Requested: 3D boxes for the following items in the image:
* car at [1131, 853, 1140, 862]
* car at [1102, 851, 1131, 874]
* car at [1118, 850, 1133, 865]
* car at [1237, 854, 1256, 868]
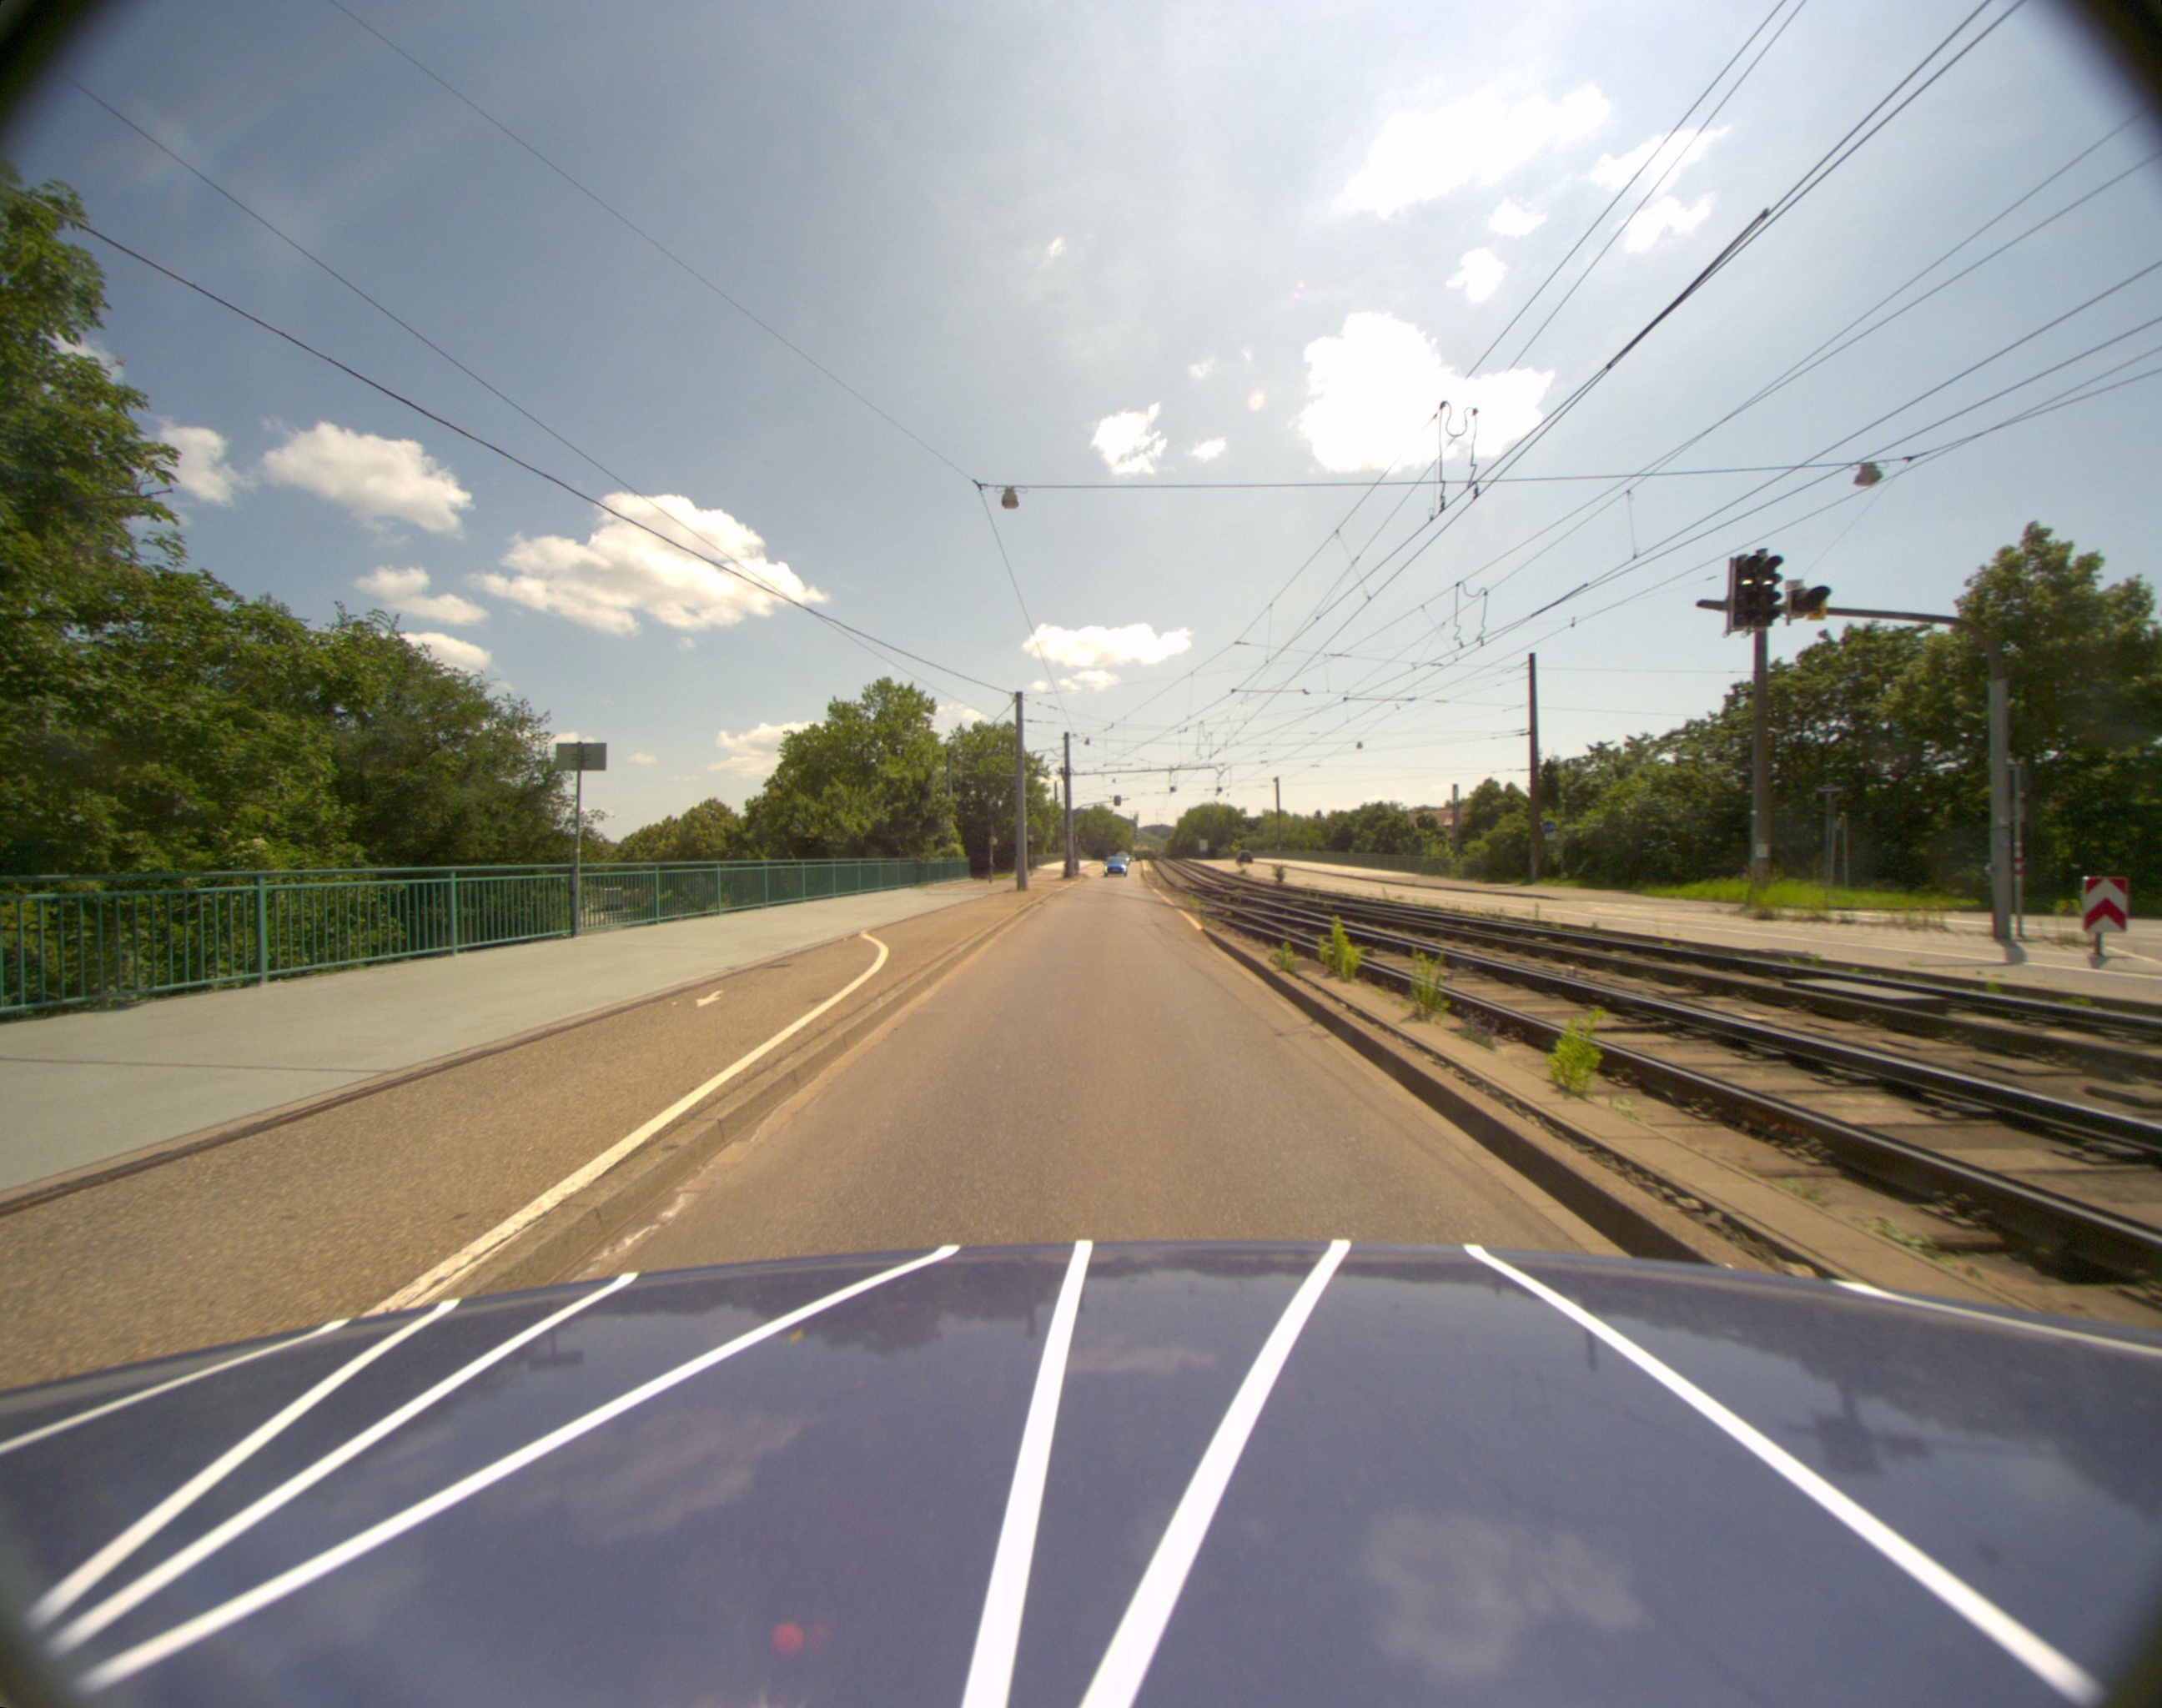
[{"bbox_3d":[11.416,0.737,158.476,1.730,1.696,4.000,0,0,1],"label":"car"},{"bbox_3d":[2.717,0.656,57.848,1.864,1.630,4.003,-2,-1,6],"label":"car"},{"bbox_3d":[5.612,0.477,95.687,1.683,1.737,3.686,-3,-1,2],"label":"car"},{"bbox_3d":[19.366,0.783,89.225,1.708,1.501,3.734,-1,1,5],"label":"car"}]
